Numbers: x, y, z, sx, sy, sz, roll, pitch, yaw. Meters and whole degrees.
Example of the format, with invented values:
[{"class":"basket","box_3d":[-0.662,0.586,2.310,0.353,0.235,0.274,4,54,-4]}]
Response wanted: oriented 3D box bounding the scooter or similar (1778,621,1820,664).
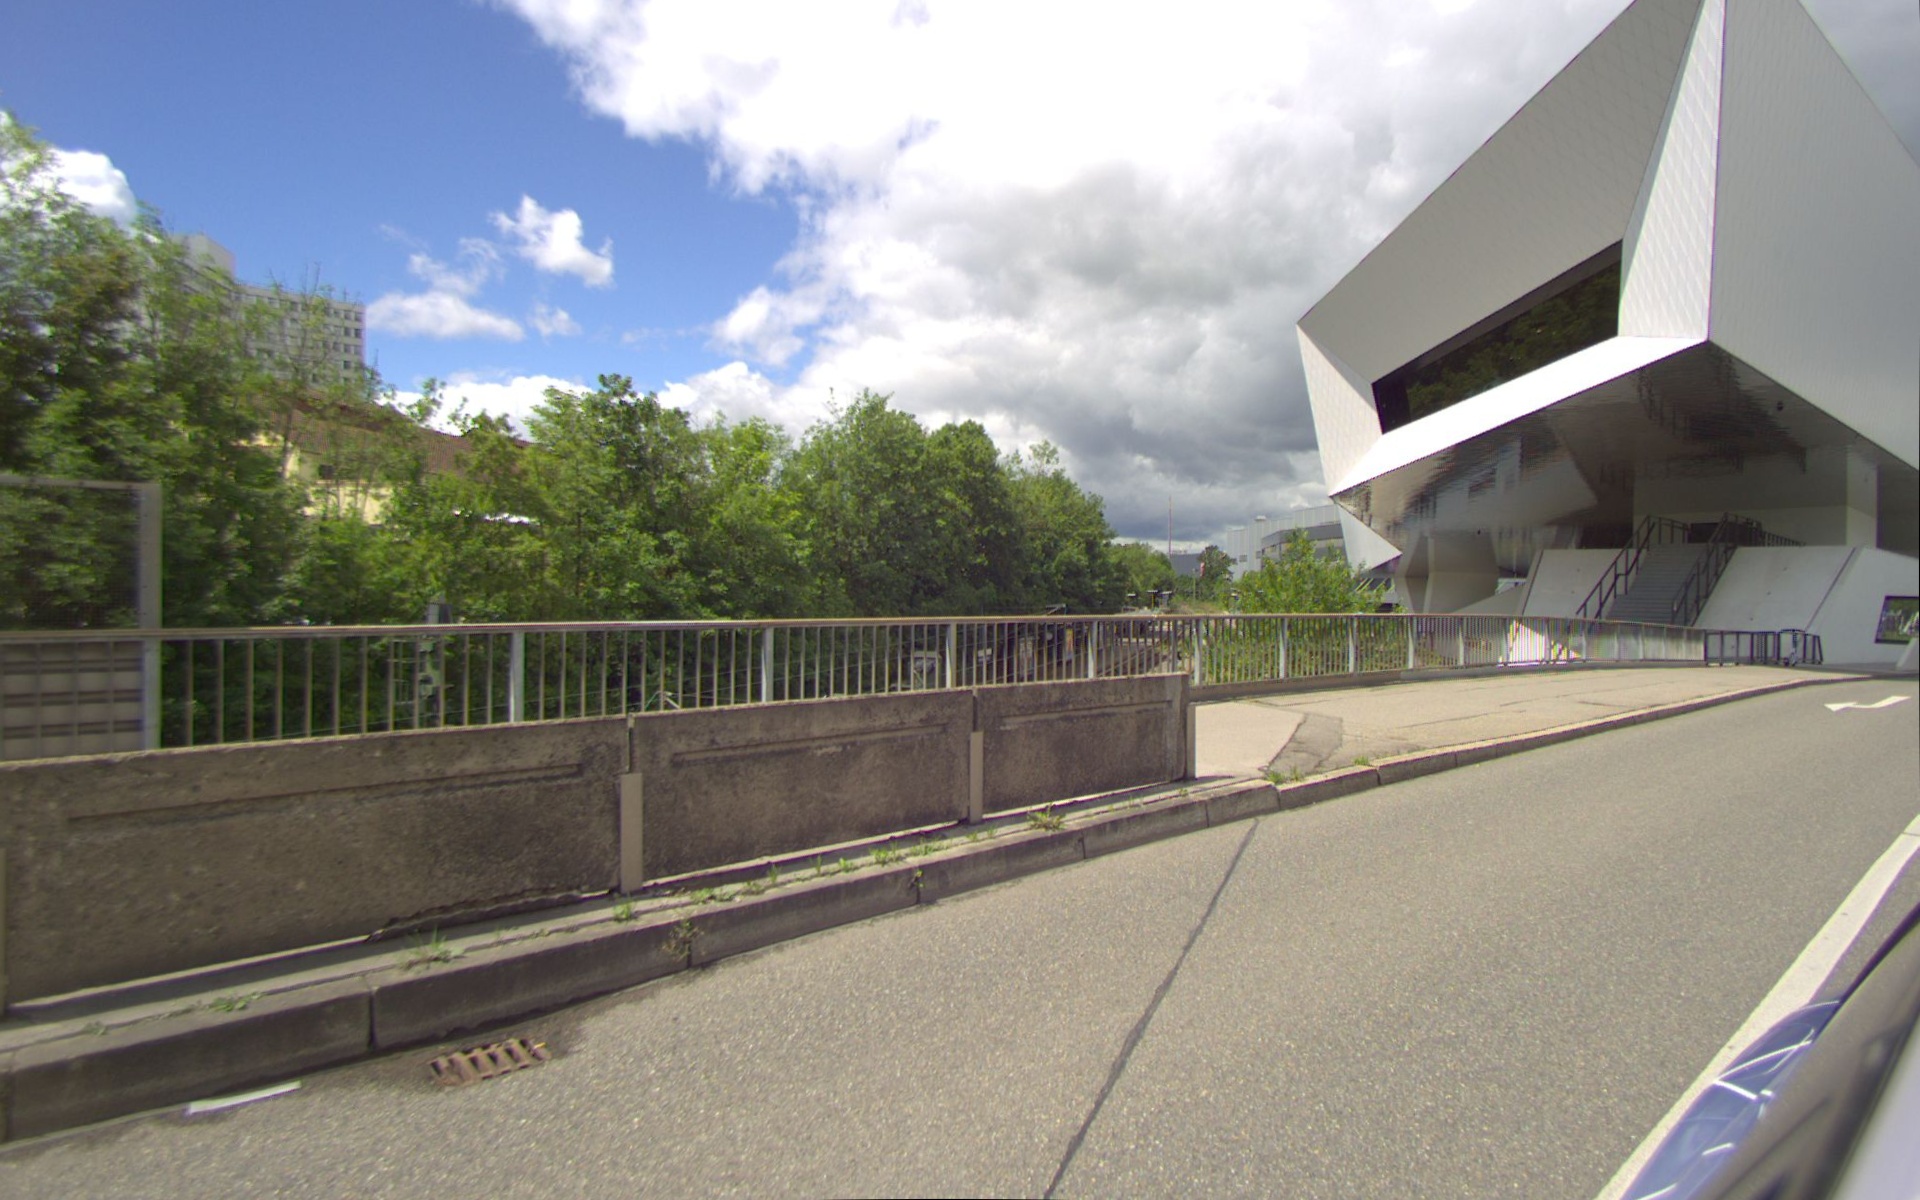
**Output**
[{"class":"scooter or similar","box_3d":[25.660,1.291,30.944,1.825,1.229,0.654,2,0,-41]}]
